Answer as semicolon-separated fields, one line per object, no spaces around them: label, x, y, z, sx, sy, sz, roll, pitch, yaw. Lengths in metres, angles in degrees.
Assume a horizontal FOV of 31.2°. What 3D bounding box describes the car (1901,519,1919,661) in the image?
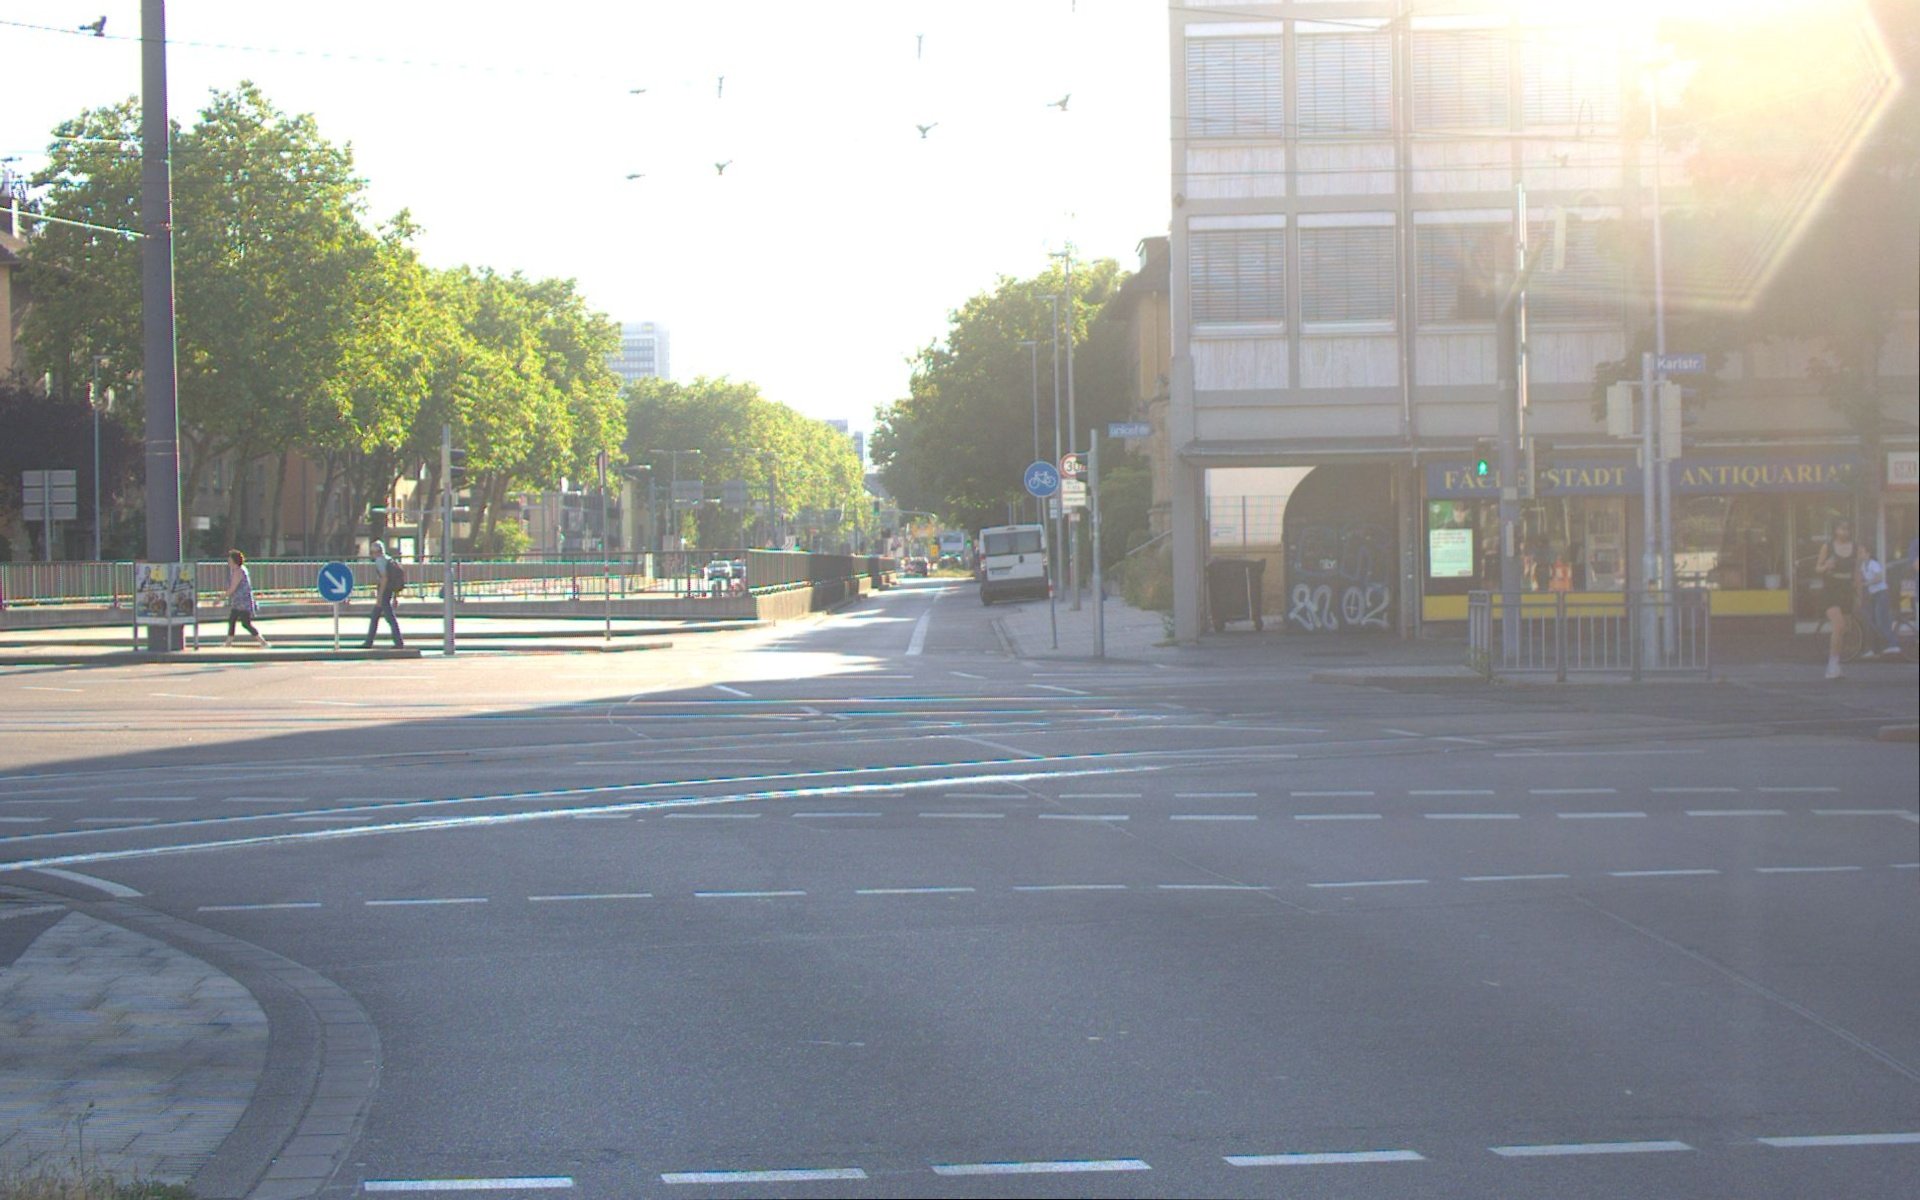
car;12.904;-0.092;39.016;3.987;1.612;1.844;1;0;5

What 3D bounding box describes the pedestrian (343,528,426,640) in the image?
pedestrian;-9.051;-0.252;54.100;1.194;1.725;0.856;1;0;-5

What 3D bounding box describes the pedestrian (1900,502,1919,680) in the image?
pedestrian;10.003;-0.092;35.012;0.695;1.787;1.041;1;0;10

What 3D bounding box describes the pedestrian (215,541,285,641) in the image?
pedestrian;-10.771;-0.132;52.132;0.853;1.460;0.686;1;-5;-29

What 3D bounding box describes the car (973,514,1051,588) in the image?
car;1.599;-1.465;103.915;2.286;2.165;4.833;1;1;1

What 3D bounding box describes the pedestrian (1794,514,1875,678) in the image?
pedestrian;9.096;-0.048;35.780;0.695;1.676;1.042;1;0;8

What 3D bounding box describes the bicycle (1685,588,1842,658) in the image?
bicycle;11.263;0.319;48.223;2.024;0.937;0.671;1;0;-1
